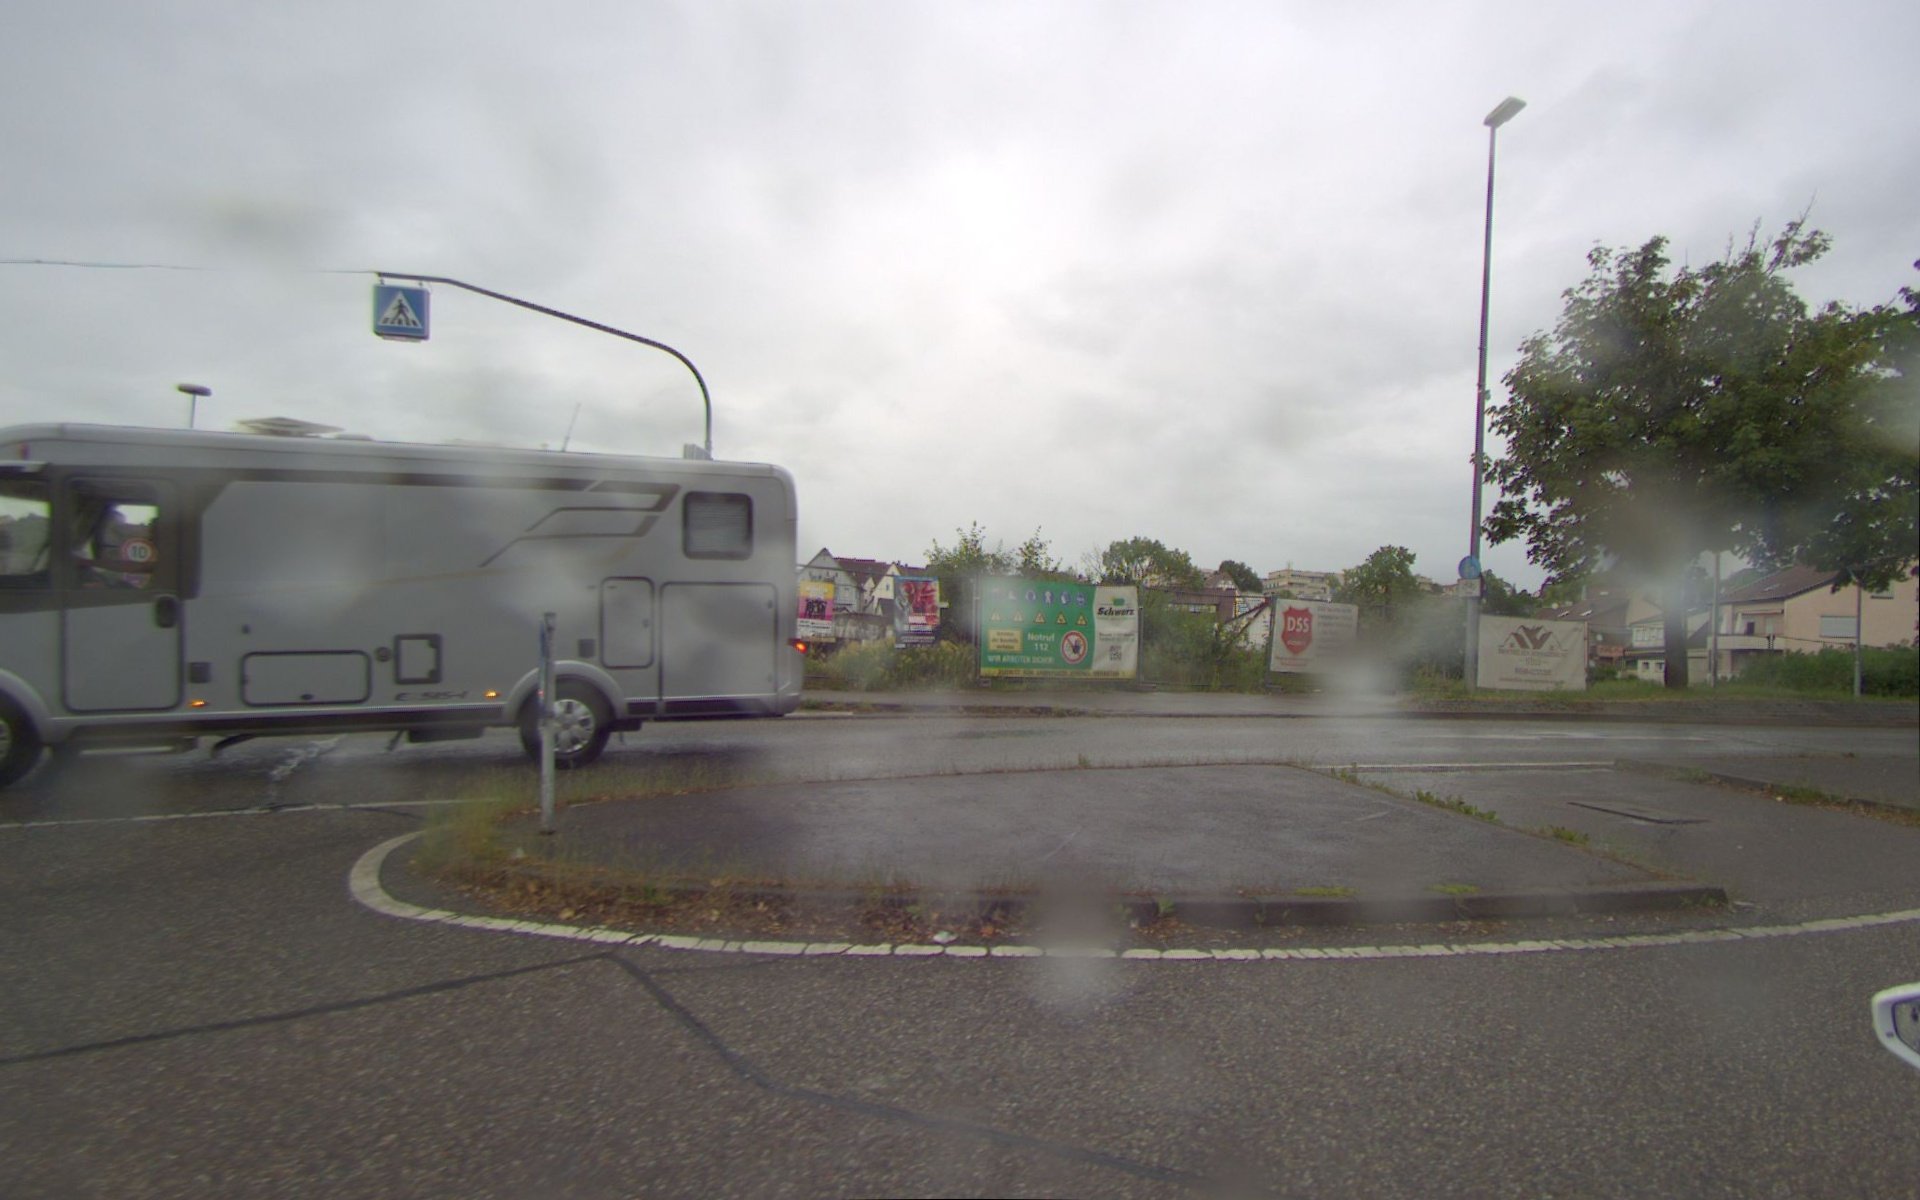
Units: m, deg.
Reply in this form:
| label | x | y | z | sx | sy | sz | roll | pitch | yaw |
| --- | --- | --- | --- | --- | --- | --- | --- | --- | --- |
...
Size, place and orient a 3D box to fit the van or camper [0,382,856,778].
| label | x | y | z | sx | sy | sz | roll | pitch | yaw |
| --- | --- | --- | --- | --- | --- | --- | --- | --- | --- |
| van or camper | -4.613 | -0.043 | 8.910 | 6.918 | 2.691 | 2.362 | 2 | -1 | -22 |
